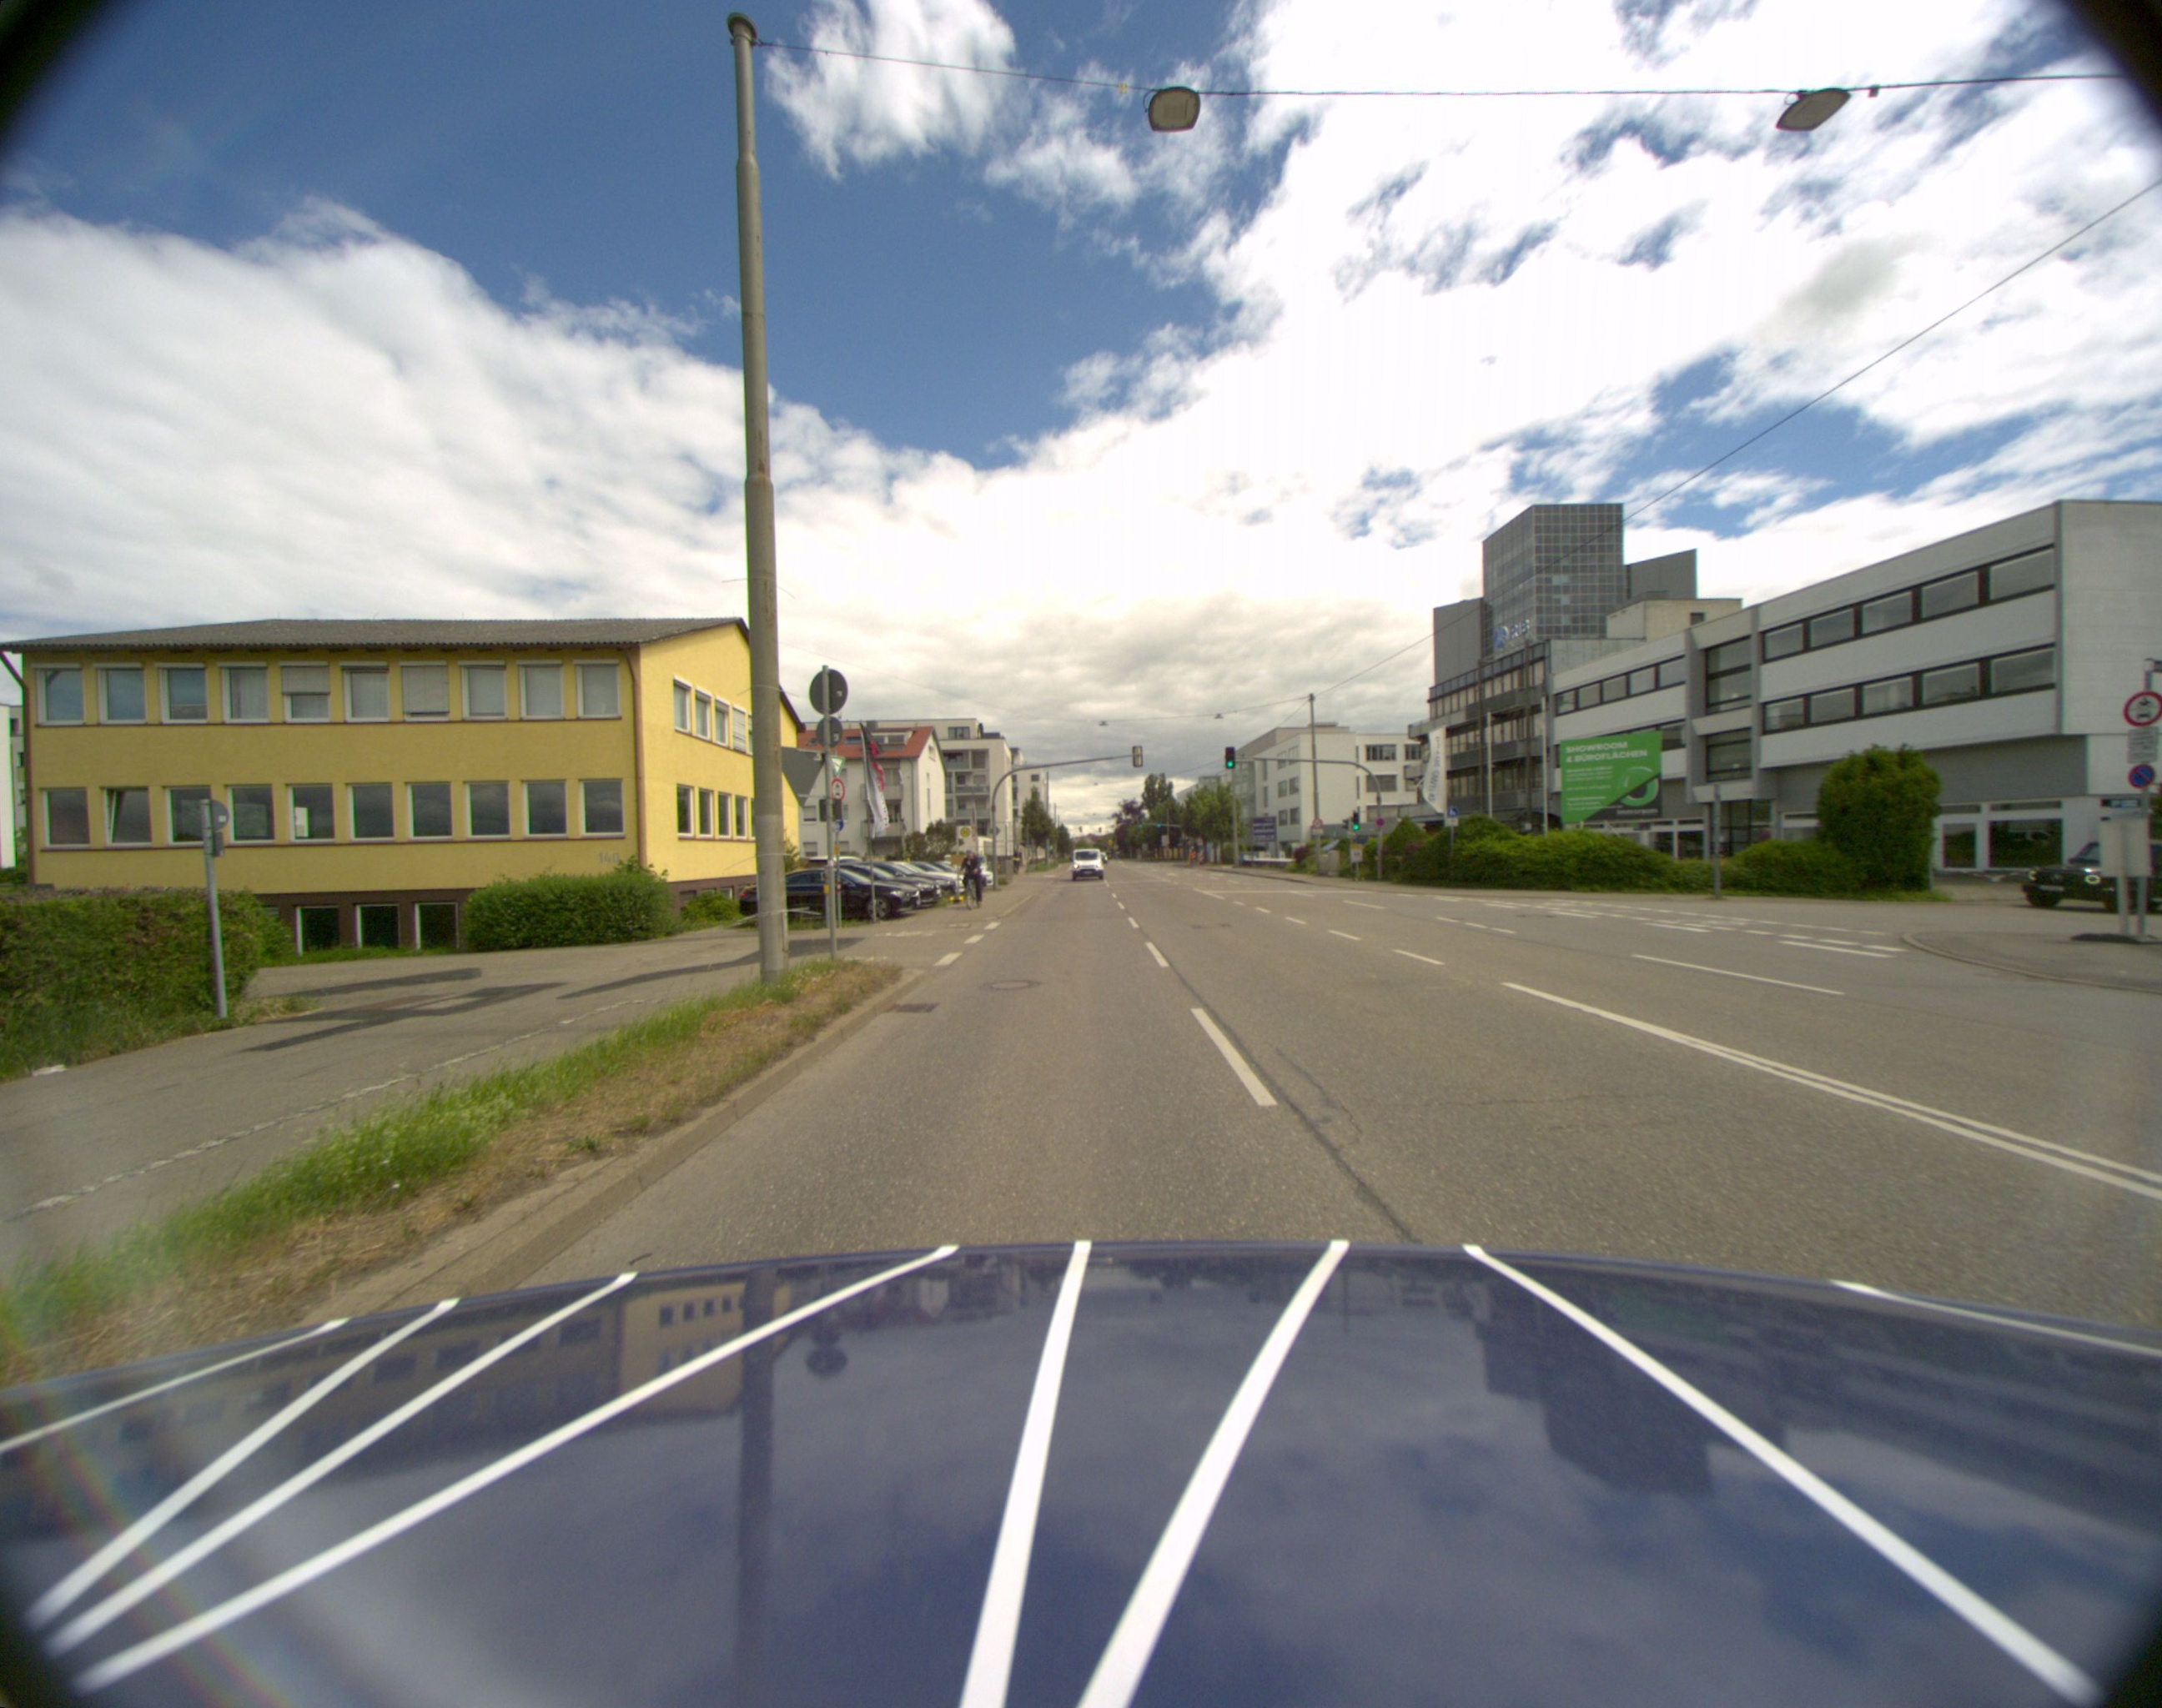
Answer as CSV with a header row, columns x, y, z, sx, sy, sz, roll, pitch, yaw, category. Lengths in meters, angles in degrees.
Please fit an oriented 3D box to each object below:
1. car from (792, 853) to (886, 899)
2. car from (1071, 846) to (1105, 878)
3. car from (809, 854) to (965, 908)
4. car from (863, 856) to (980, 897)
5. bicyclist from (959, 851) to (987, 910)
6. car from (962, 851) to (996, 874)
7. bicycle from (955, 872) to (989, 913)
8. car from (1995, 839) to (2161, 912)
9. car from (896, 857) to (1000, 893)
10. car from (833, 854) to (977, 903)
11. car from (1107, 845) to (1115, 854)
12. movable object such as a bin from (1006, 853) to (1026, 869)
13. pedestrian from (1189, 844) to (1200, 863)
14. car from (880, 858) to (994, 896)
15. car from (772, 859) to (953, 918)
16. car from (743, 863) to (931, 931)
x,y,z,sx,sy,sz,roll,pitch,yaw,category
-10.964,0.927,34.876,1.979,1.811,5.032,-1,2,10,car
0.423,0.498,50.527,1.999,1.906,3.998,-3,1,-2,car
-6.497,0.898,25.855,4.688,1.485,2.015,-3,1,1,car
-6.516,0.894,31.419,4.380,1.396,1.988,-3,0,-2,car
-3.139,0.752,22.112,0.639,1.666,0.890,2,1,0,bicyclist
-7.240,0.551,54.473,1.880,1.536,4.520,-1,0,-1,car
-3.139,1.095,22.041,0.639,1.057,1.977,2,1,0,bicycle
28.685,0.567,20.683,4.765,1.783,2.169,1,3,2,car
-6.435,1.018,37.197,4.708,1.484,2.045,-2,0,-1,car
-6.536,0.881,28.608,4.812,1.472,2.032,-3,1,1,car
8.888,-1.286,223.012,2.148,2.457,6.072,0,1,1,car
-5.624,0.600,66.227,1.321,1.353,1.252,-1,2,16,movable object such as a bin
12.811,-0.062,85.853,0.724,2.002,0.812,-2,2,43,pedestrian
-6.427,1.008,34.337,4.671,1.485,2.034,-2,1,0,car
-6.571,1.016,23.308,4.864,1.422,2.038,-4,1,1,car
-6.409,1.100,20.412,4.333,1.391,2.003,-4,2,-2,car
